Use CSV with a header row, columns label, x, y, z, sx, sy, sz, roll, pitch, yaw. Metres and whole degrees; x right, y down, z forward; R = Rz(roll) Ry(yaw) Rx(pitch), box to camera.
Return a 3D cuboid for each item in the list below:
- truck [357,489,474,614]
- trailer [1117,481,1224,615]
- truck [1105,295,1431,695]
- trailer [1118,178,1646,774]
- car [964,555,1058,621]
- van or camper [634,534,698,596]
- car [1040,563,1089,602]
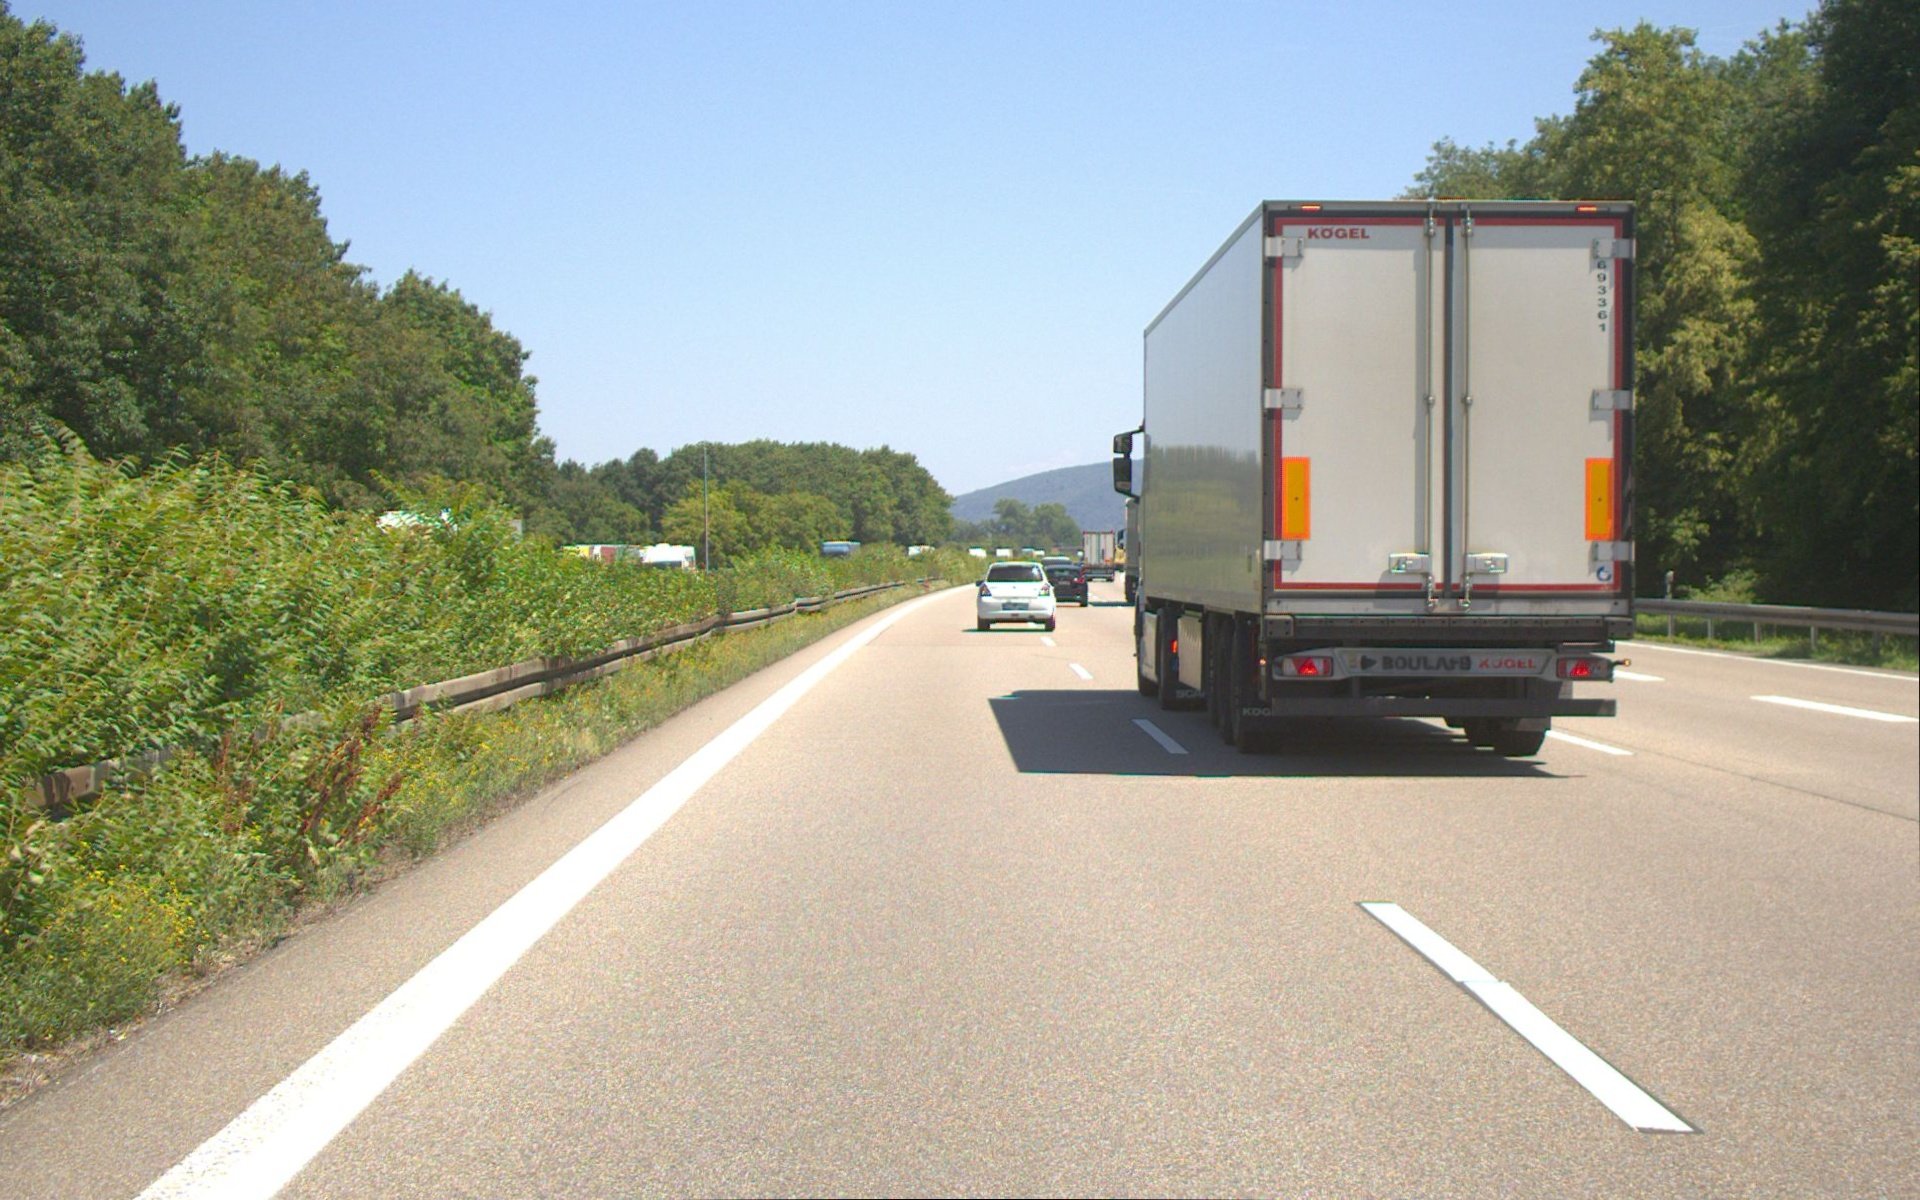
label,x,y,z,sx,sy,sz,roll,pitch,yaw
truck,-17.082,-1.530,108.184,2.889,3.810,4.885,0,1,0
trailer,7.556,-1.893,124.847,3.182,4.611,12.050,0,1,0
truck,3.316,-1.140,38.218,3.229,4.143,4.560,-1,1,1
trailer,3.229,-0.977,30.167,3.223,4.129,12.352,-1,1,1
car,1.113,-0.278,76.018,1.811,1.400,3.318,-1,1,-4
van or camper,-15.357,-1.868,179.859,2.420,3.101,9.087,-1,1,1
car,3.660,-0.625,119.791,1.668,1.285,4.000,0,1,2
